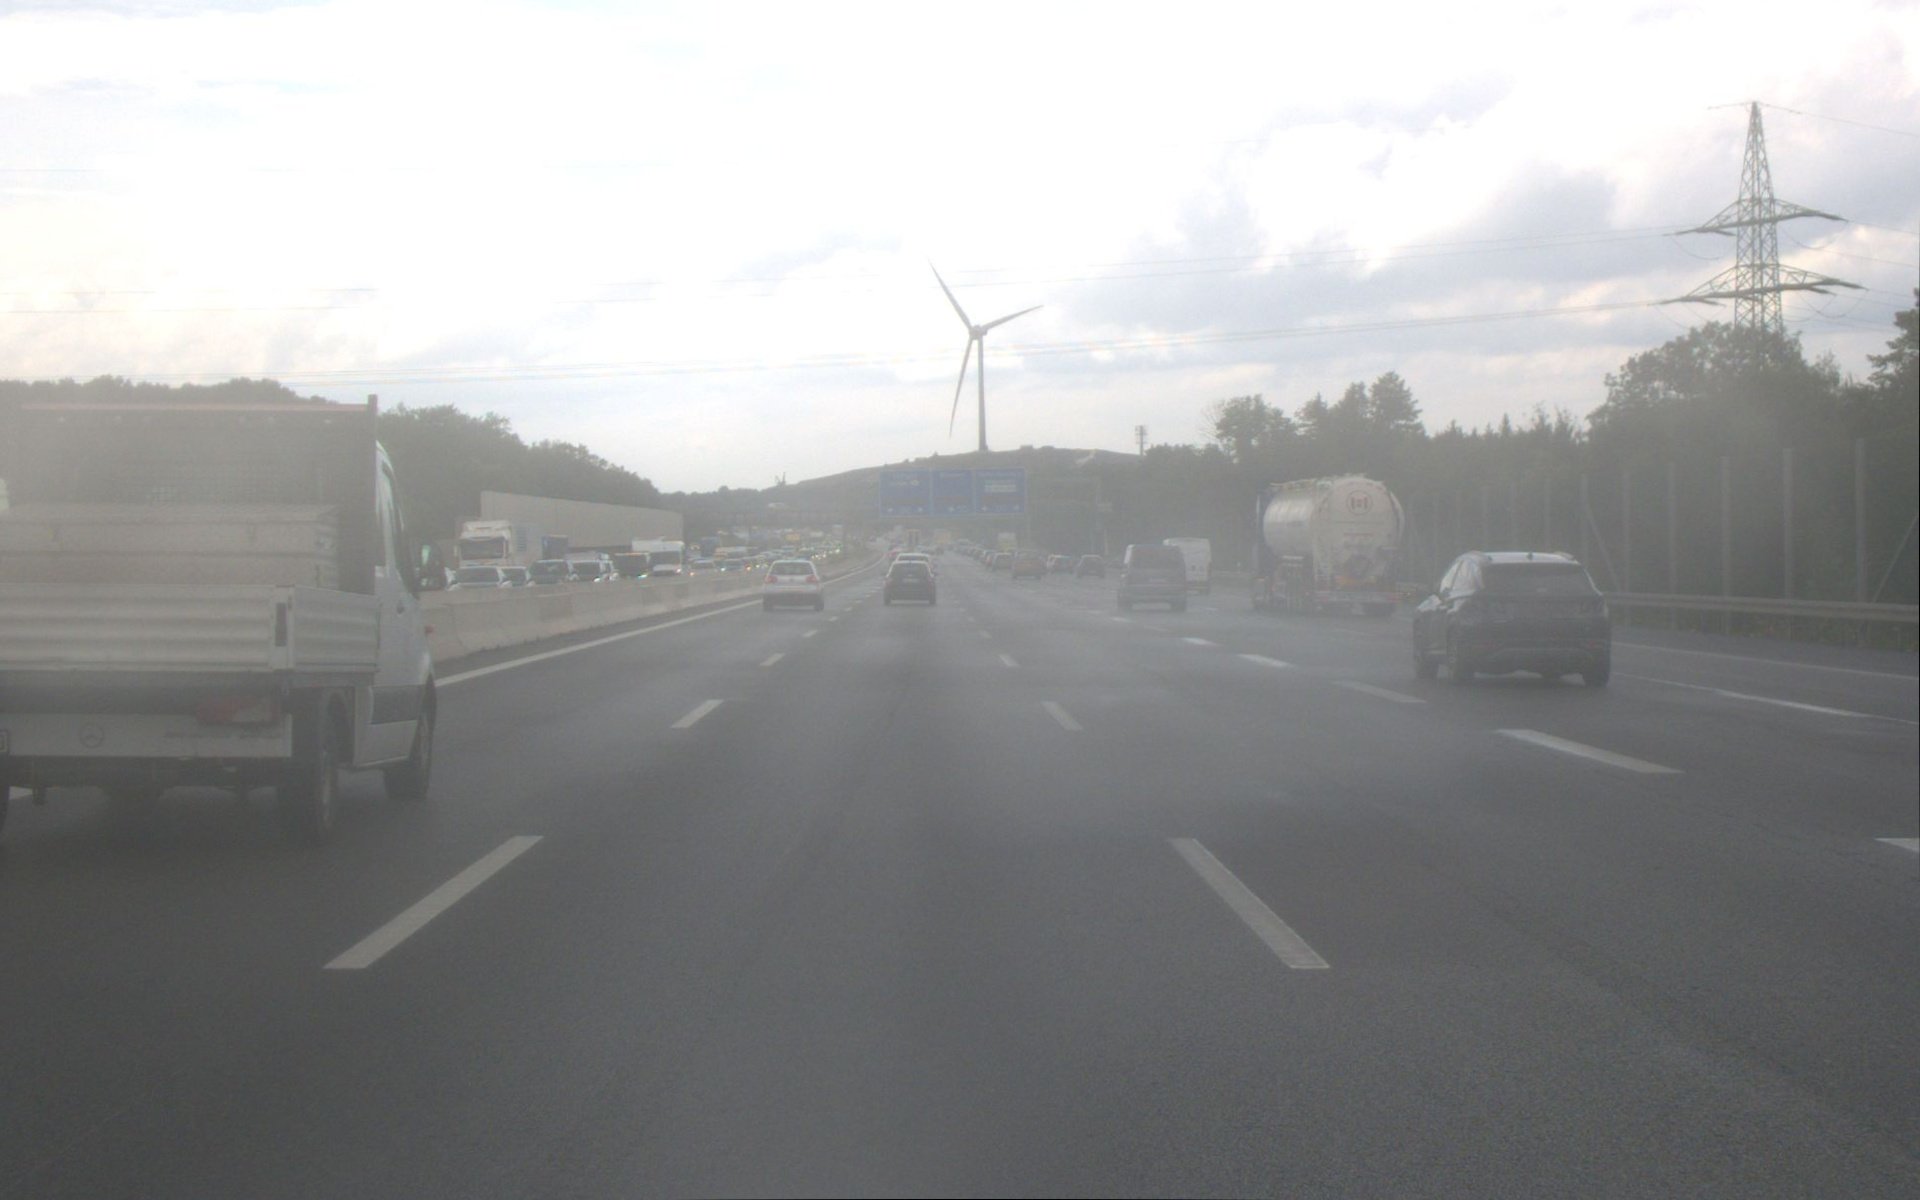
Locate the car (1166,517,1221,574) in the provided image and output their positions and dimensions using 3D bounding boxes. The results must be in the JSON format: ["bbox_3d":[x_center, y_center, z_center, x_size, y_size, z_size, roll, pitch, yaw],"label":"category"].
[{"bbox_3d":[10.253,-2.413,151.171,2.045,2.489,4.000,0,1,-1],"label":"car"}]

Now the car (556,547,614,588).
[{"bbox_3d":[-15.410,-1.353,141.546,1.894,1.618,4.845,0,1,-1],"label":"car"}]

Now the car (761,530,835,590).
[{"bbox_3d":[-4.763,-1.197,101.641,2.045,1.693,4.000,0,2,-1],"label":"car"}]

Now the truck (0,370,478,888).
[{"bbox_3d":[-4.340,0.036,19.703,2.353,2.400,7.359,1,1,-2],"label":"truck"}]

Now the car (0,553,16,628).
[{"bbox_3d":[-20.045,-0.180,67.635,1.800,1.498,4.352,0,1,-1],"label":"car"}]

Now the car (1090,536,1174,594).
[{"bbox_3d":[5.165,-1.082,103.771,2.097,1.693,4.001,0,2,-4],"label":"car"}]

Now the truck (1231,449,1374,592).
[{"bbox_3d":[10.158,-2.377,102.904,3.333,4.066,8.272,0,1,-1],"label":"truck"}]

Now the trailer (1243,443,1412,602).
[{"bbox_3d":[10.224,-2.184,97.019,3.332,4.161,11.839,0,1,-1],"label":"trailer"}]

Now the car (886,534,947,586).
[{"bbox_3d":[-1.448,-1.367,115.622,2.045,1.693,4.000,0,2,0],"label":"car"}]

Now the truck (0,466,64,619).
[{"bbox_3d":[-23.308,-1.382,80.905,2.728,3.501,6.800,0,1,-1],"label":"truck"}]

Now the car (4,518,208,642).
[{"bbox_3d":[-14.275,-0.384,57.786,2.095,1.962,5.632,0,1,-1],"label":"car"}]

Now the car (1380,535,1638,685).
[{"bbox_3d":[6.676,0.118,42.378,2.045,1.693,5.007,-1,0,-4],"label":"car"}]

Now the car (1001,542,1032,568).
[{"bbox_3d":[3.813,-3.064,233.972,2.045,1.693,4.000,0,2,0],"label":"car"}]

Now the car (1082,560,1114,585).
[{"bbox_3d":[9.789,-1.940,244.104,1.993,1.744,4.497,0,1,-1],"label":"car"}]

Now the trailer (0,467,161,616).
[{"bbox_3d":[-23.401,-1.560,88.409,2.711,3.514,13.611,0,1,-1],"label":"trailer"}]
